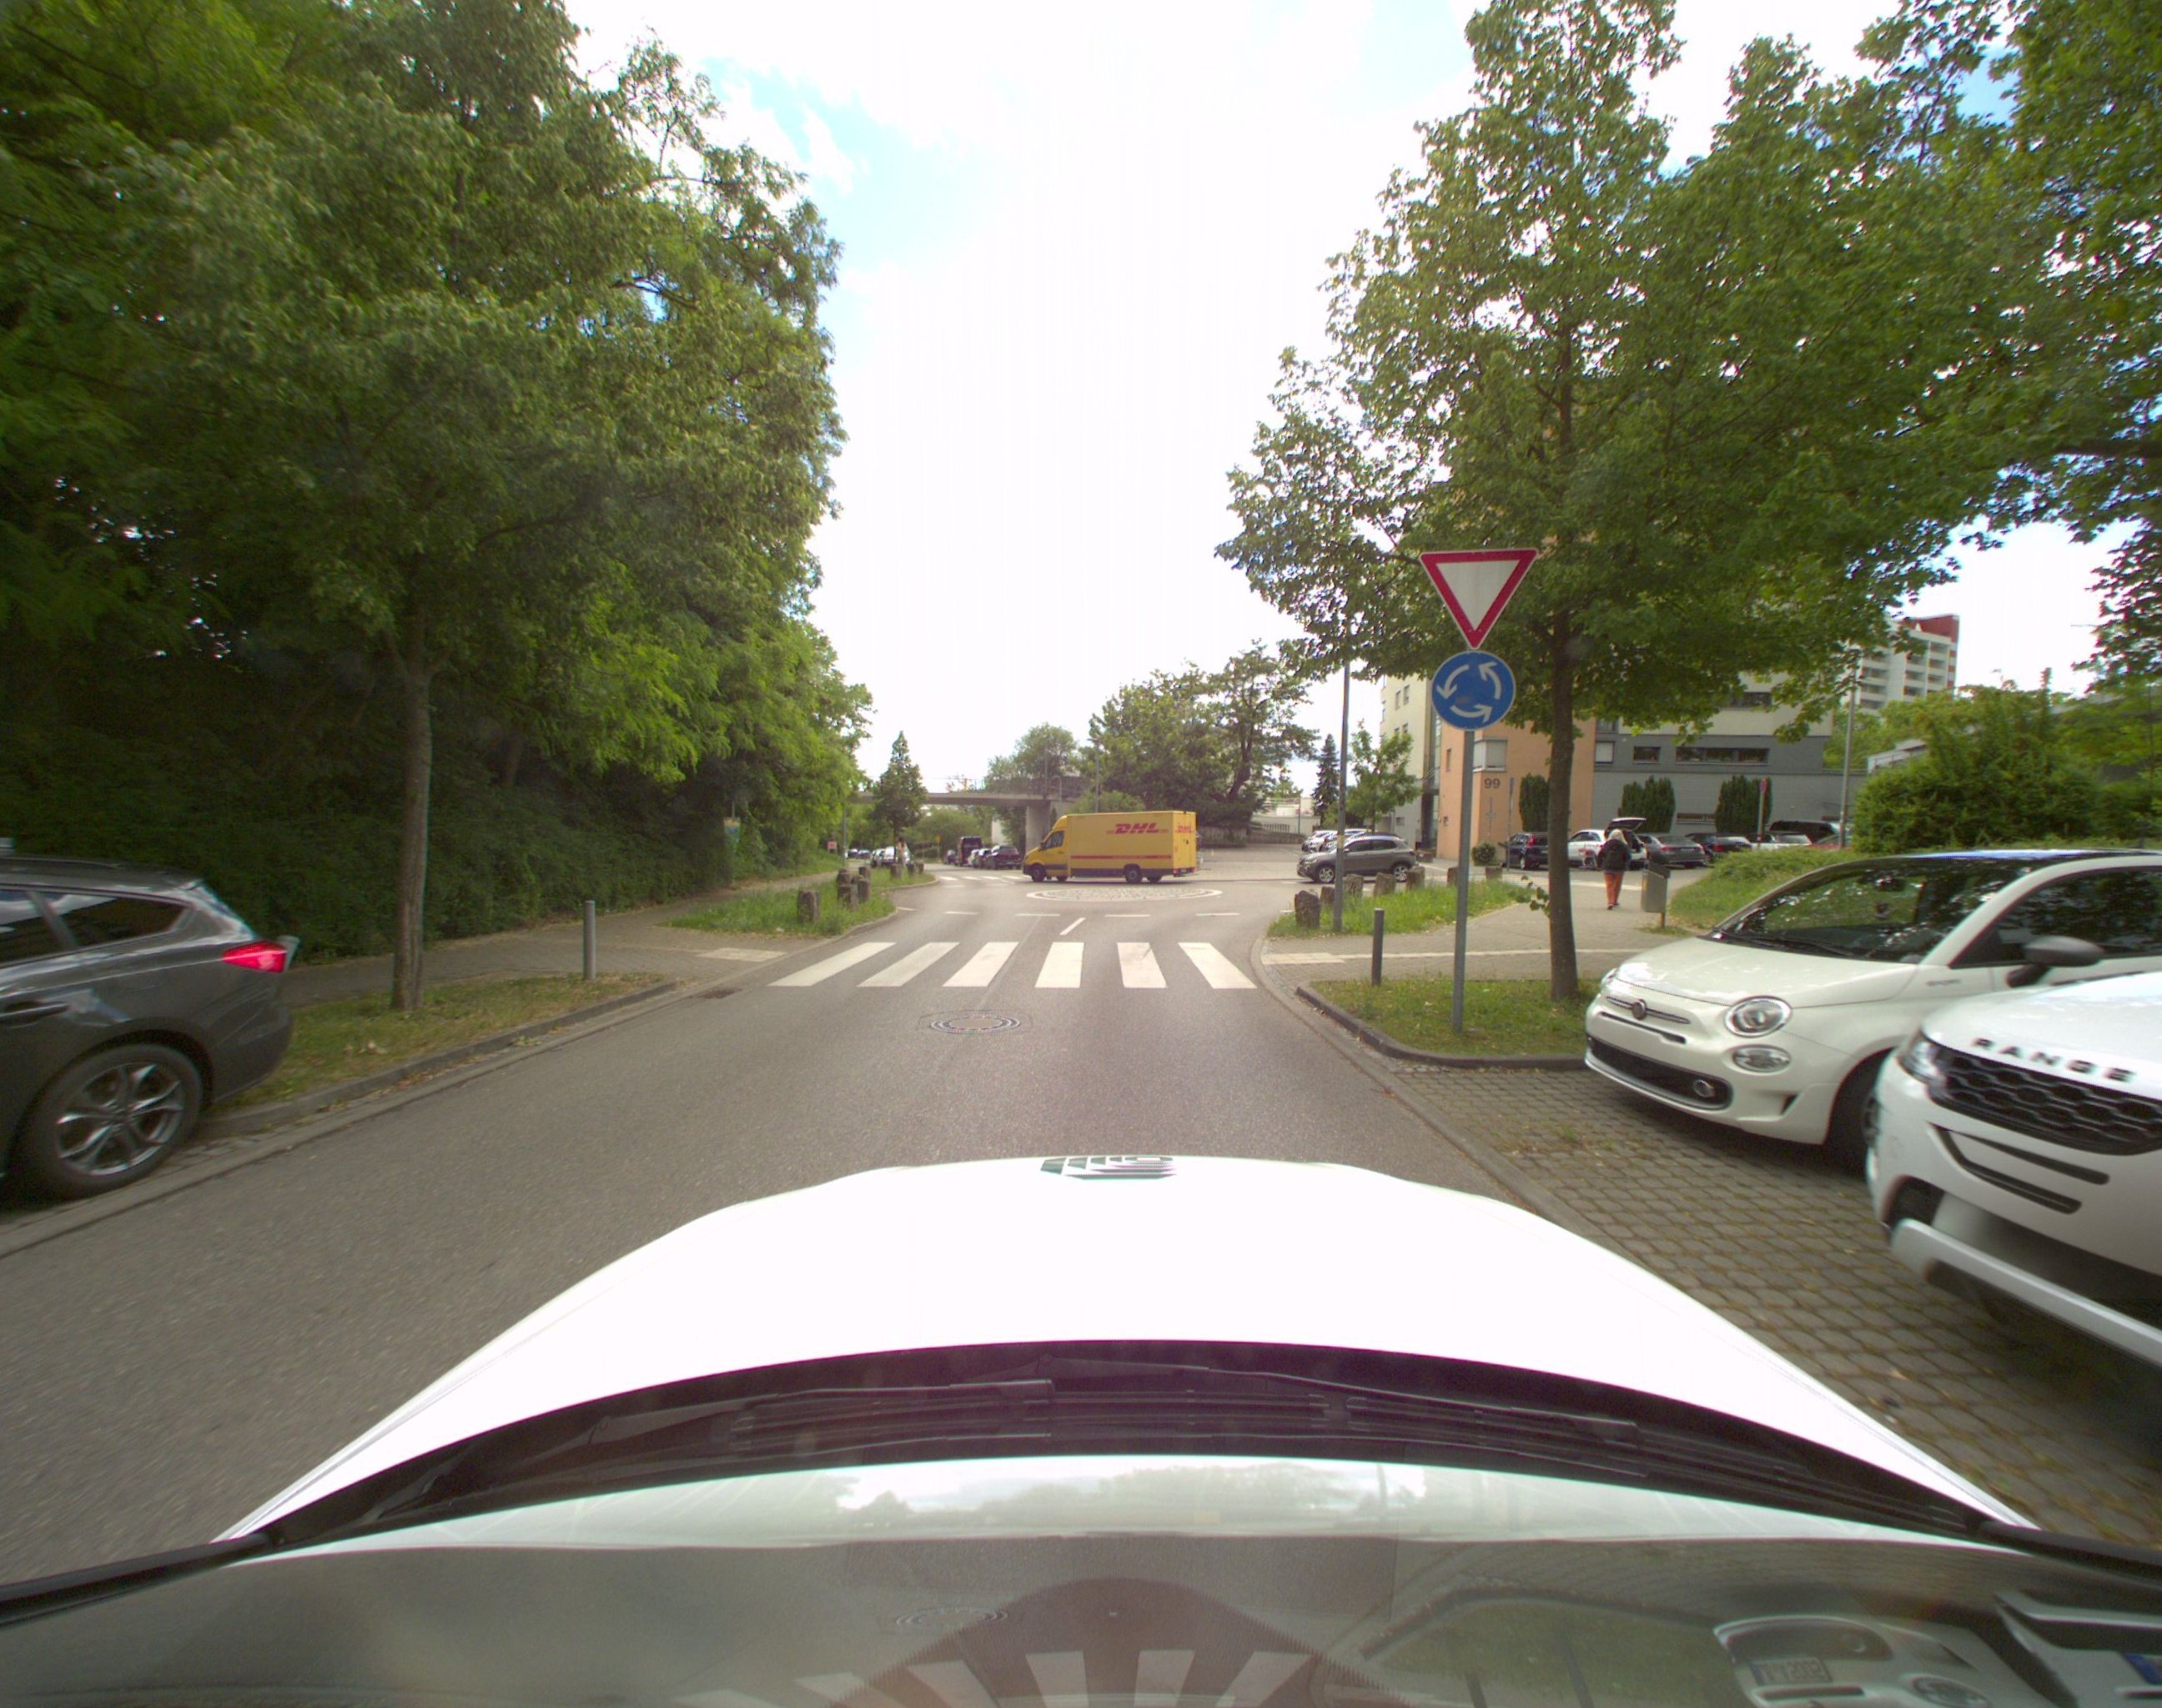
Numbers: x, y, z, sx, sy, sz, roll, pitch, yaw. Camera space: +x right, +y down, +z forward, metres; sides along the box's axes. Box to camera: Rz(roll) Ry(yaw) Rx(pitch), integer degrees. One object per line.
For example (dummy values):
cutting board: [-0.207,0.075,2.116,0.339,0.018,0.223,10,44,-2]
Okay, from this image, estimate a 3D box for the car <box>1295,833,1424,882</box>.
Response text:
car: [9.702,0.111,28.623,3.978,1.618,1.724,-1,0,4]

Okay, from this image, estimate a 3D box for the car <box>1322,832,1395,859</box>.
car: [15.926,-0.500,46.901,3.802,1.458,1.698,1,1,11]

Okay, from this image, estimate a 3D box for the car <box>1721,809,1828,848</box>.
car: [28.785,-1.042,33.965,1.627,1.482,3.786,-1,1,8]

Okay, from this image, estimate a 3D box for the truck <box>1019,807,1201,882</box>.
truck: [1.101,-0.367,32.084,6.738,2.702,2.489,0,0,28]

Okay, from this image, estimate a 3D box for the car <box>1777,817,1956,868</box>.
car: [27.707,-0.412,28.831,4.508,1.644,1.980,-1,0,-1]

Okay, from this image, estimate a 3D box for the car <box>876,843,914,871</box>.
car: [-10.623,0.165,46.359,1.791,1.468,3.976,1,1,-18]

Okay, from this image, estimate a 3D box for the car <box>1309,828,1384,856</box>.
car: [16.008,-0.755,49.271,4.095,1.593,1.697,1,1,9]

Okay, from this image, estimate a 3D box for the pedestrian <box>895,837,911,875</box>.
pedestrian: [-8.175,0.069,37.378,0.658,1.721,0.736,1,1,-12]

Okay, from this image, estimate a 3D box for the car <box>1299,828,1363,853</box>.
car: [16.554,-0.909,54.156,3.953,1.517,1.763,1,1,13]

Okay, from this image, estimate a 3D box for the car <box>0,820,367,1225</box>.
car: [-4.925,0.637,2.324,1.683,1.465,4.458,4,1,1]

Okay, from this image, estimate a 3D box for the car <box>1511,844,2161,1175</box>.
car: [4.653,0.690,4.699,3.508,1.461,1.734,0,0,-7]

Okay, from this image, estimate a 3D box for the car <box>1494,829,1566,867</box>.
car: [18.742,-0.262,34.111,1.491,1.476,3.535,-1,1,8]

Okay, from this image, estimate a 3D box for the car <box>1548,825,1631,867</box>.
car: [21.486,-0.350,34.574,1.559,1.658,3.786,-1,1,8]

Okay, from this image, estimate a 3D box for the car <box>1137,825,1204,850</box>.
car: [6.140,-1.145,56.302,4.523,1.668,1.947,1,1,4]

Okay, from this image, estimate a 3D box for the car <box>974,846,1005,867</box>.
car: [-7.001,0.179,61.843,1.703,1.496,4.096,-1,0,-16]

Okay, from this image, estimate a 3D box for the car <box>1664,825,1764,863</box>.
car: [26.376,-0.414,34.107,1.627,1.482,3.786,-1,1,8]

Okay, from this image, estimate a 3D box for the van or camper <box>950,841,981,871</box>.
van or camper: [-10.353,0.206,72.490,1.998,2.523,5.441,-2,0,-16]

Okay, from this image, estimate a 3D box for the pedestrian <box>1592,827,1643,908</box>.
pedestrian: [11.305,0.265,17.191,0.609,1.665,0.843,1,1,12]

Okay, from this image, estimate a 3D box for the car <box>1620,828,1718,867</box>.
car: [23.815,-0.272,33.141,1.627,1.482,3.786,-1,1,8]

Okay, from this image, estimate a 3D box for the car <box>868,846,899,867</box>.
car: [-15.205,0.212,62.420,1.890,1.509,4.424,1,0,-19]

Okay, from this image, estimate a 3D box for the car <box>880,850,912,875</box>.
car: [-11.721,0.492,51.512,1.888,1.460,3.529,1,1,-15]

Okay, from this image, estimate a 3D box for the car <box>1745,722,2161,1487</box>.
car: [4.343,0.554,1.926,4.137,1.602,1.739,1,1,-1]

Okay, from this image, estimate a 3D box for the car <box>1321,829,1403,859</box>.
car: [15.192,-0.547,44.173,4.015,1.517,1.761,1,1,11]

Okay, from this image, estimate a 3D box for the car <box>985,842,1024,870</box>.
car: [-5.294,0.190,55.661,1.818,1.678,4.344,0,-3,-17]

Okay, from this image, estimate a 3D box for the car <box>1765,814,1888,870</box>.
car: [30.775,-0.509,33.804,1.814,2.160,3.987,1,1,8]
